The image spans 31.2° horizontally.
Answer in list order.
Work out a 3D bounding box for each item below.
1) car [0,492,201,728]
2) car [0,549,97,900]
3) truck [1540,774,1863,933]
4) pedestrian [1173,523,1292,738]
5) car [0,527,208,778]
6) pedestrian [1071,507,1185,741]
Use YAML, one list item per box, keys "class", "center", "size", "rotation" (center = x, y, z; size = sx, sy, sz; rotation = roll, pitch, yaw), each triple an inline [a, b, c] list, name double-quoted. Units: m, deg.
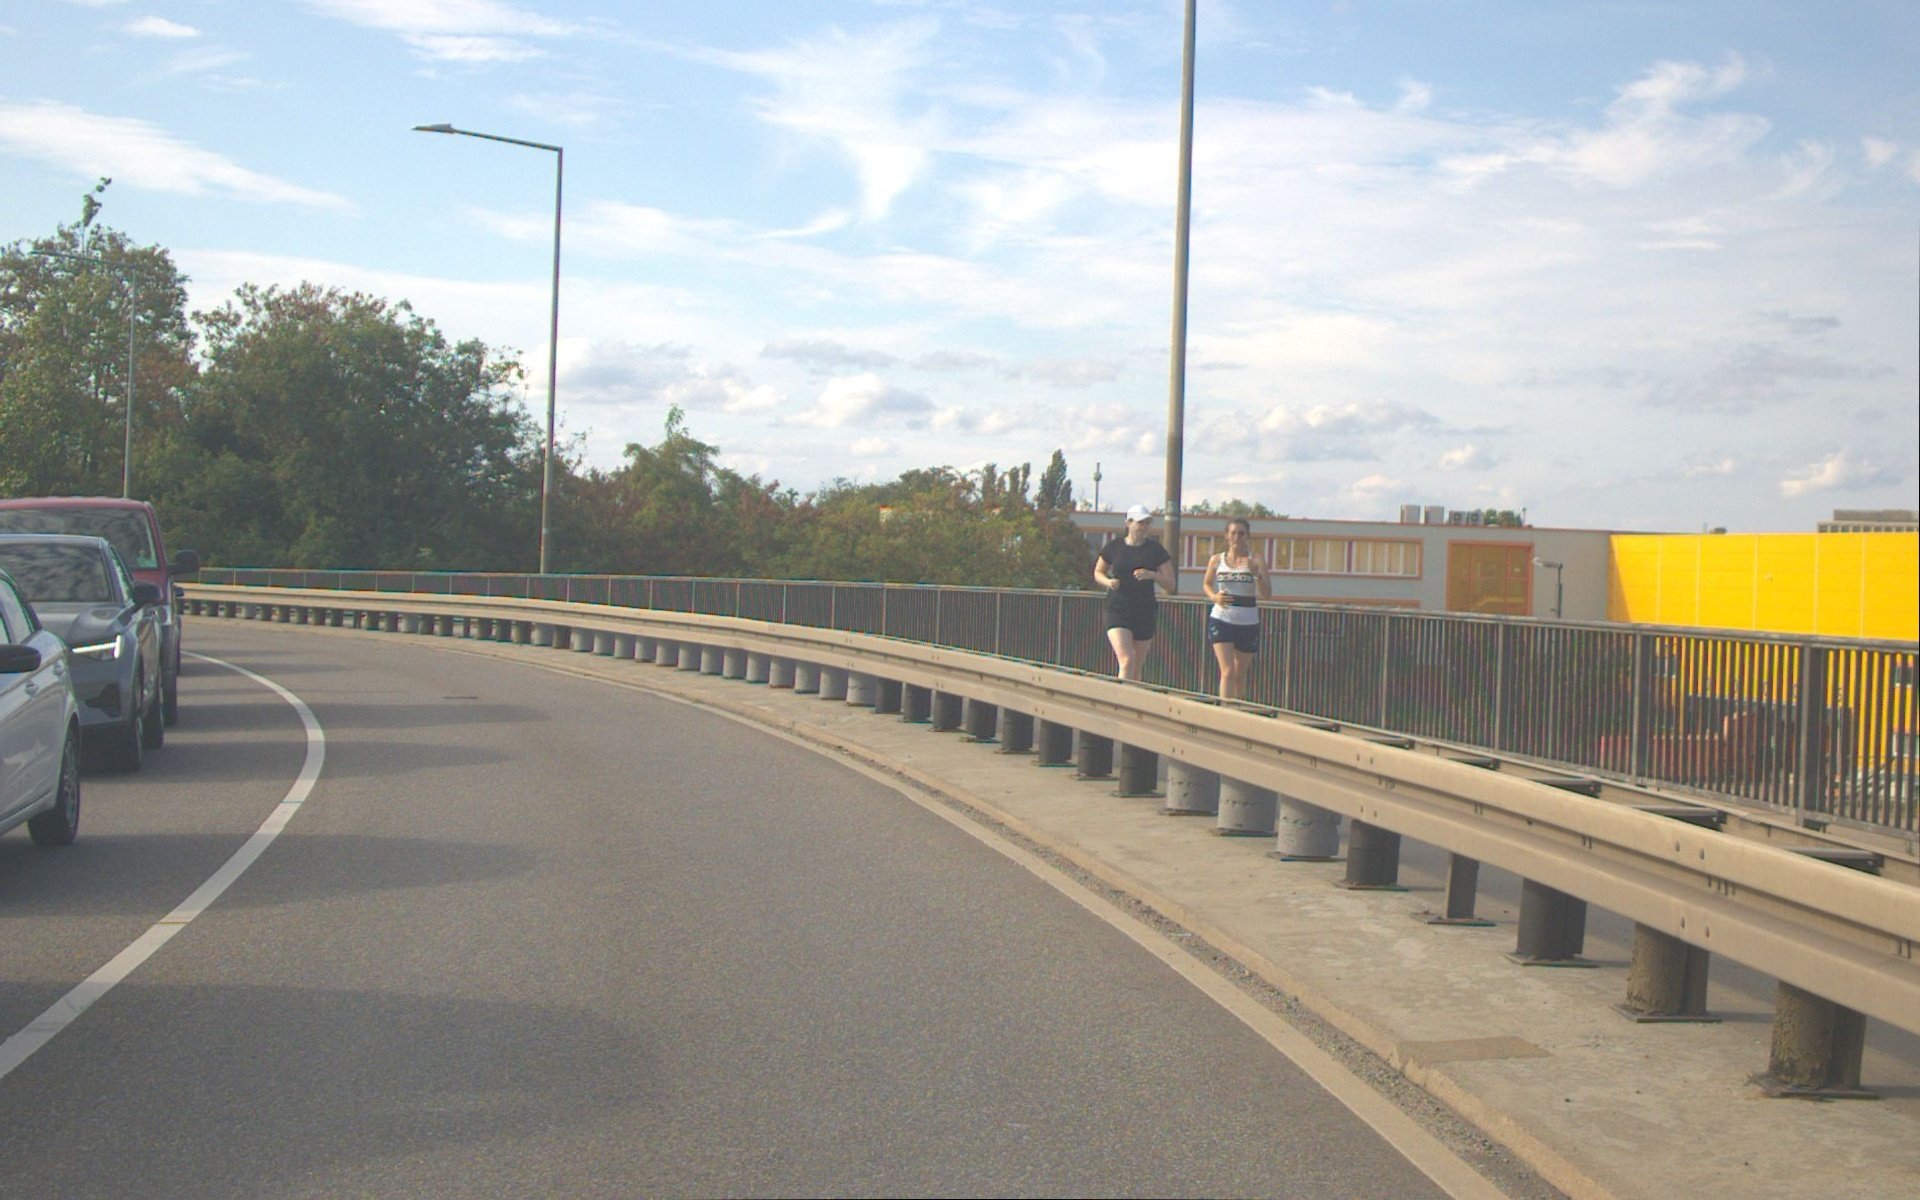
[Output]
- class: "car"
  center: [-7.733, 0.034, 30.246]
  size: [2.007, 1.897, 4.869]
  rotation: [-1, 1, -12]
- class: "car"
  center: [-5.152, 0.524, 15.939]
  size: [1.740, 1.495, 4.078]
  rotation: [-1, 1, -7]
- class: "truck"
  center: [21.085, 7.153, 97.803]
  size: [8.588, 4.077, 2.668]
  rotation: [0, 2, -12]
- class: "pedestrian"
  center: [1.982, 0.210, 25.085]
  size: [0.676, 1.538, 0.961]
  rotation: [0, 1, -7]
- class: "car"
  center: [-6.306, 0.301, 24.216]
  size: [1.752, 1.604, 4.315]
  rotation: [-1, 1, -10]
- class: "pedestrian"
  center: [1.207, 0.165, 24.766]
  size: [0.676, 1.656, 0.865]
  rotation: [0, 0, -7]
